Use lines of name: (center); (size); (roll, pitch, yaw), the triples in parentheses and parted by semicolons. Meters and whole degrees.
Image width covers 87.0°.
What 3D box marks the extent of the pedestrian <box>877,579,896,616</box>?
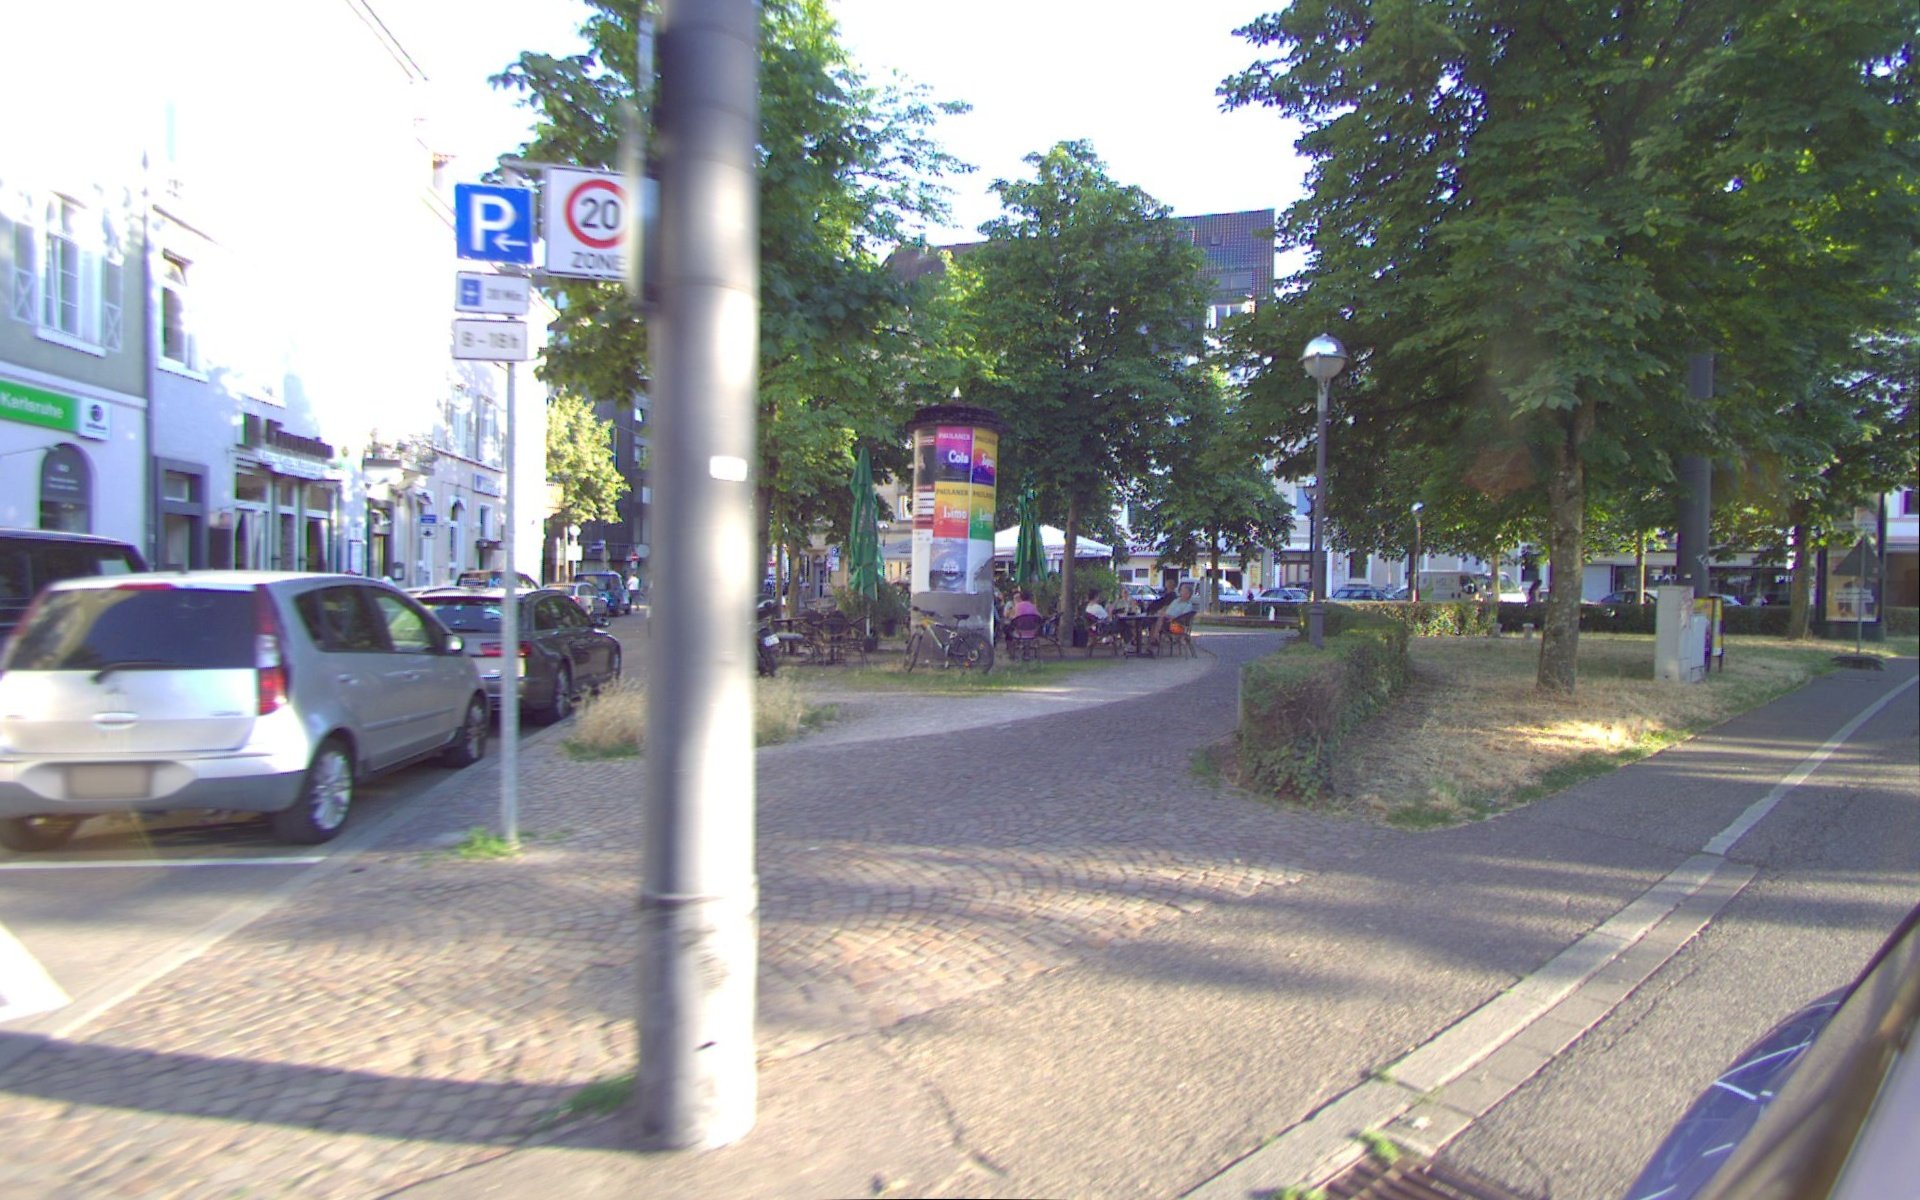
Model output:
pedestrian: (-2.304, -0.080, 31.785); (0.451, 1.131, 0.529); (0, 0, 13)

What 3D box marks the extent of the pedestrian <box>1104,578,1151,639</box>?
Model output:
pedestrian: (3.587, 0.195, 21.759); (0.935, 1.259, 0.662); (-1, -3, 6)

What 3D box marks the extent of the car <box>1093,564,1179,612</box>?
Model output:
car: (7.885, -0.523, 45.617); (1.958, 2.039, 4.008); (0, 0, -23)

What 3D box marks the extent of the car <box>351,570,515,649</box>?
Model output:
car: (-11.919, 0.161, 23.264); (1.982, 1.637, 4.519); (0, 1, -9)

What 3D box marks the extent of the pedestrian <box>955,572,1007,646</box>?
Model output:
pedestrian: (0.366, 0.168, 17.877); (0.649, 1.259, 0.953); (0, -3, -16)

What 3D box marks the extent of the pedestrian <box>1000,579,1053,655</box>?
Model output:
pedestrian: (1.167, 0.320, 17.937); (0.649, 1.301, 0.953); (0, -3, -16)

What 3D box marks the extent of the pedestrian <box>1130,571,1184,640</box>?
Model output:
pedestrian: (4.013, 0.091, 20.697); (0.997, 1.372, 0.731); (0, 2, 6)

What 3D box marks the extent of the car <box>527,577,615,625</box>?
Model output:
car: (-13.688, -0.012, 35.847); (1.982, 1.590, 4.519); (0, 1, -9)

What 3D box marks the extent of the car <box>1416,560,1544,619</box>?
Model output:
car: (21.140, -0.424, 41.442); (2.051, 2.269, 4.890); (0, 0, -11)

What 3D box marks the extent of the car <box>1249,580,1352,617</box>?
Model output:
car: (14.465, -0.075, 43.176); (1.958, 1.505, 4.007); (0, 0, -24)

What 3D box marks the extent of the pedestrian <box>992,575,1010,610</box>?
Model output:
pedestrian: (1.331, -0.234, 32.859); (0.486, 1.131, 0.555); (0, 0, 13)

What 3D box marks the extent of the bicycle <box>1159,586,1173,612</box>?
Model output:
bicycle: (8.293, -0.054, 40.809); (0.320, 1.008, 1.465); (1, 1, 20)

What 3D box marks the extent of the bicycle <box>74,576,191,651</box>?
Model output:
bicycle: (-14.721, 0.199, 18.075); (0.673, 1.260, 1.991); (0, 1, -8)

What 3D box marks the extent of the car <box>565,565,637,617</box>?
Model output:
car: (-14.657, -0.384, 41.549); (1.982, 1.988, 4.519); (0, 1, -9)

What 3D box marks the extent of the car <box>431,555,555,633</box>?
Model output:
car: (-12.949, -0.191, 28.360); (1.982, 1.988, 4.519); (0, 1, -9)

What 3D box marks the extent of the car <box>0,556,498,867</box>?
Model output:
car: (-4.555, 0.509, 6.817); (1.703, 1.532, 3.583); (0, 1, -8)

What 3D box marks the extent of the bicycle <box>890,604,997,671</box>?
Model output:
bicycle: (-0.245, 0.540, 15.138); (1.508, 0.941, 0.553); (0, 1, 16)

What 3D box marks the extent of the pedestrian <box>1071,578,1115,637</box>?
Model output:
pedestrian: (2.956, 0.152, 22.516); (0.935, 1.258, 0.662); (-1, 2, 6)

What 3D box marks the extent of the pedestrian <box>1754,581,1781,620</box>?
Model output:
pedestrian: (37.722, 0.030, 47.268); (0.784, 1.823, 0.635); (0, 0, 16)

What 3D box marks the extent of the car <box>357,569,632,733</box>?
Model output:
car: (-5.139, 0.428, 11.886); (1.703, 1.532, 4.681); (0, 1, -9)

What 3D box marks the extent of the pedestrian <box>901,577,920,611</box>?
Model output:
pedestrian: (-1.628, -0.197, 33.410); (0.486, 1.131, 0.555); (0, 0, 13)

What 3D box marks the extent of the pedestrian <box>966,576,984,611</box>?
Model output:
pedestrian: (0.485, -0.211, 32.955); (0.486, 1.131, 0.555); (0, 0, 13)

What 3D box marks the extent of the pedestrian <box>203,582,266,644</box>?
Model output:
pedestrian: (-15.134, 0.255, 21.125); (0.673, 1.260, 1.029); (0, 1, -8)

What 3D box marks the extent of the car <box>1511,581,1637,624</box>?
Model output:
car: (24.230, 0.086, 40.111); (1.911, 1.624, 4.008); (0, 0, -17)

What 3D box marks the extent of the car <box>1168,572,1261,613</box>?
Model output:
car: (11.187, -0.341, 44.765); (1.958, 1.727, 4.008); (0, 0, -23)

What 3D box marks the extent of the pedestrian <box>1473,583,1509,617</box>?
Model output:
pedestrian: (19.738, -0.020, 37.644); (0.949, 1.241, 1.363); (0, 0, 19)

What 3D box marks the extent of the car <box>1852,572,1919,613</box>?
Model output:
car: (43.222, -0.358, 45.505); (4.170, 1.806, 1.923); (0, 2, 16)

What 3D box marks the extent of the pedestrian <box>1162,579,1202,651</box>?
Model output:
pedestrian: (3.975, 0.252, 18.146); (0.601, 1.260, 0.568); (0, 1, 2)

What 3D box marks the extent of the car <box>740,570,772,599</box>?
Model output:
car: (-14.808, -1.116, 73.517); (1.959, 2.039, 4.443); (0, 1, -7)

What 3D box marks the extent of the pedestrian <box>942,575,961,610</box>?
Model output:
pedestrian: (-0.276, -0.248, 33.200); (0.486, 1.131, 0.555); (0, 0, 13)

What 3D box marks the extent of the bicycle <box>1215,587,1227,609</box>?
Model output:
bicycle: (10.165, -0.084, 39.354); (0.439, 0.789, 1.269); (1, 1, 15)

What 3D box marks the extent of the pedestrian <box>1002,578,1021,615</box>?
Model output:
pedestrian: (1.587, -0.114, 31.179); (0.486, 1.131, 0.555); (0, 0, 13)

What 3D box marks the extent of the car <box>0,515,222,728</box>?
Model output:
car: (-10.149, 0.166, 10.667); (1.982, 1.988, 4.520); (0, 1, -9)

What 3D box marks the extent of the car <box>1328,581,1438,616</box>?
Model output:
car: (17.720, -0.074, 42.606); (1.958, 1.416, 4.007); (0, 0, -24)

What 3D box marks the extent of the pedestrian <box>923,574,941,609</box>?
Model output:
pedestrian: (-0.918, -0.292, 33.304); (0.486, 1.131, 0.555); (0, 0, 13)

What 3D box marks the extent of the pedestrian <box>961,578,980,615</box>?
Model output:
pedestrian: (0.340, -0.121, 31.616); (0.486, 1.131, 0.555); (0, 0, 13)

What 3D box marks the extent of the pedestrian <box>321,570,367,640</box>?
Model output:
pedestrian: (-14.302, 0.102, 23.502); (0.673, 1.588, 0.736); (0, 1, -8)

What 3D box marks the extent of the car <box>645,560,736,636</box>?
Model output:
car: (-7.693, -0.099, 29.286); (1.959, 2.039, 4.443); (0, 1, -7)

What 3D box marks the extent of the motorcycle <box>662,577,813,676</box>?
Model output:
motorcycle: (-3.365, 0.378, 15.257); (2.227, 1.385, 0.940); (-1, 0, 34)

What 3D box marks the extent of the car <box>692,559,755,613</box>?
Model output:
car: (-9.292, -0.565, 40.093); (1.959, 2.039, 4.443); (0, 1, -7)

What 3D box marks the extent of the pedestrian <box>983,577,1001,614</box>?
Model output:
pedestrian: (0.989, -0.131, 31.409); (0.486, 1.131, 0.555); (0, 0, 13)

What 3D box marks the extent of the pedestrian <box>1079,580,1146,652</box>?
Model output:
pedestrian: (2.732, 0.279, 18.225); (0.968, 1.258, 0.781); (0, 0, -11)

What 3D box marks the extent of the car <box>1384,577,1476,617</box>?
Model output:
car: (23.782, -0.200, 51.367); (3.946, 1.908, 1.942); (0, 3, 18)
